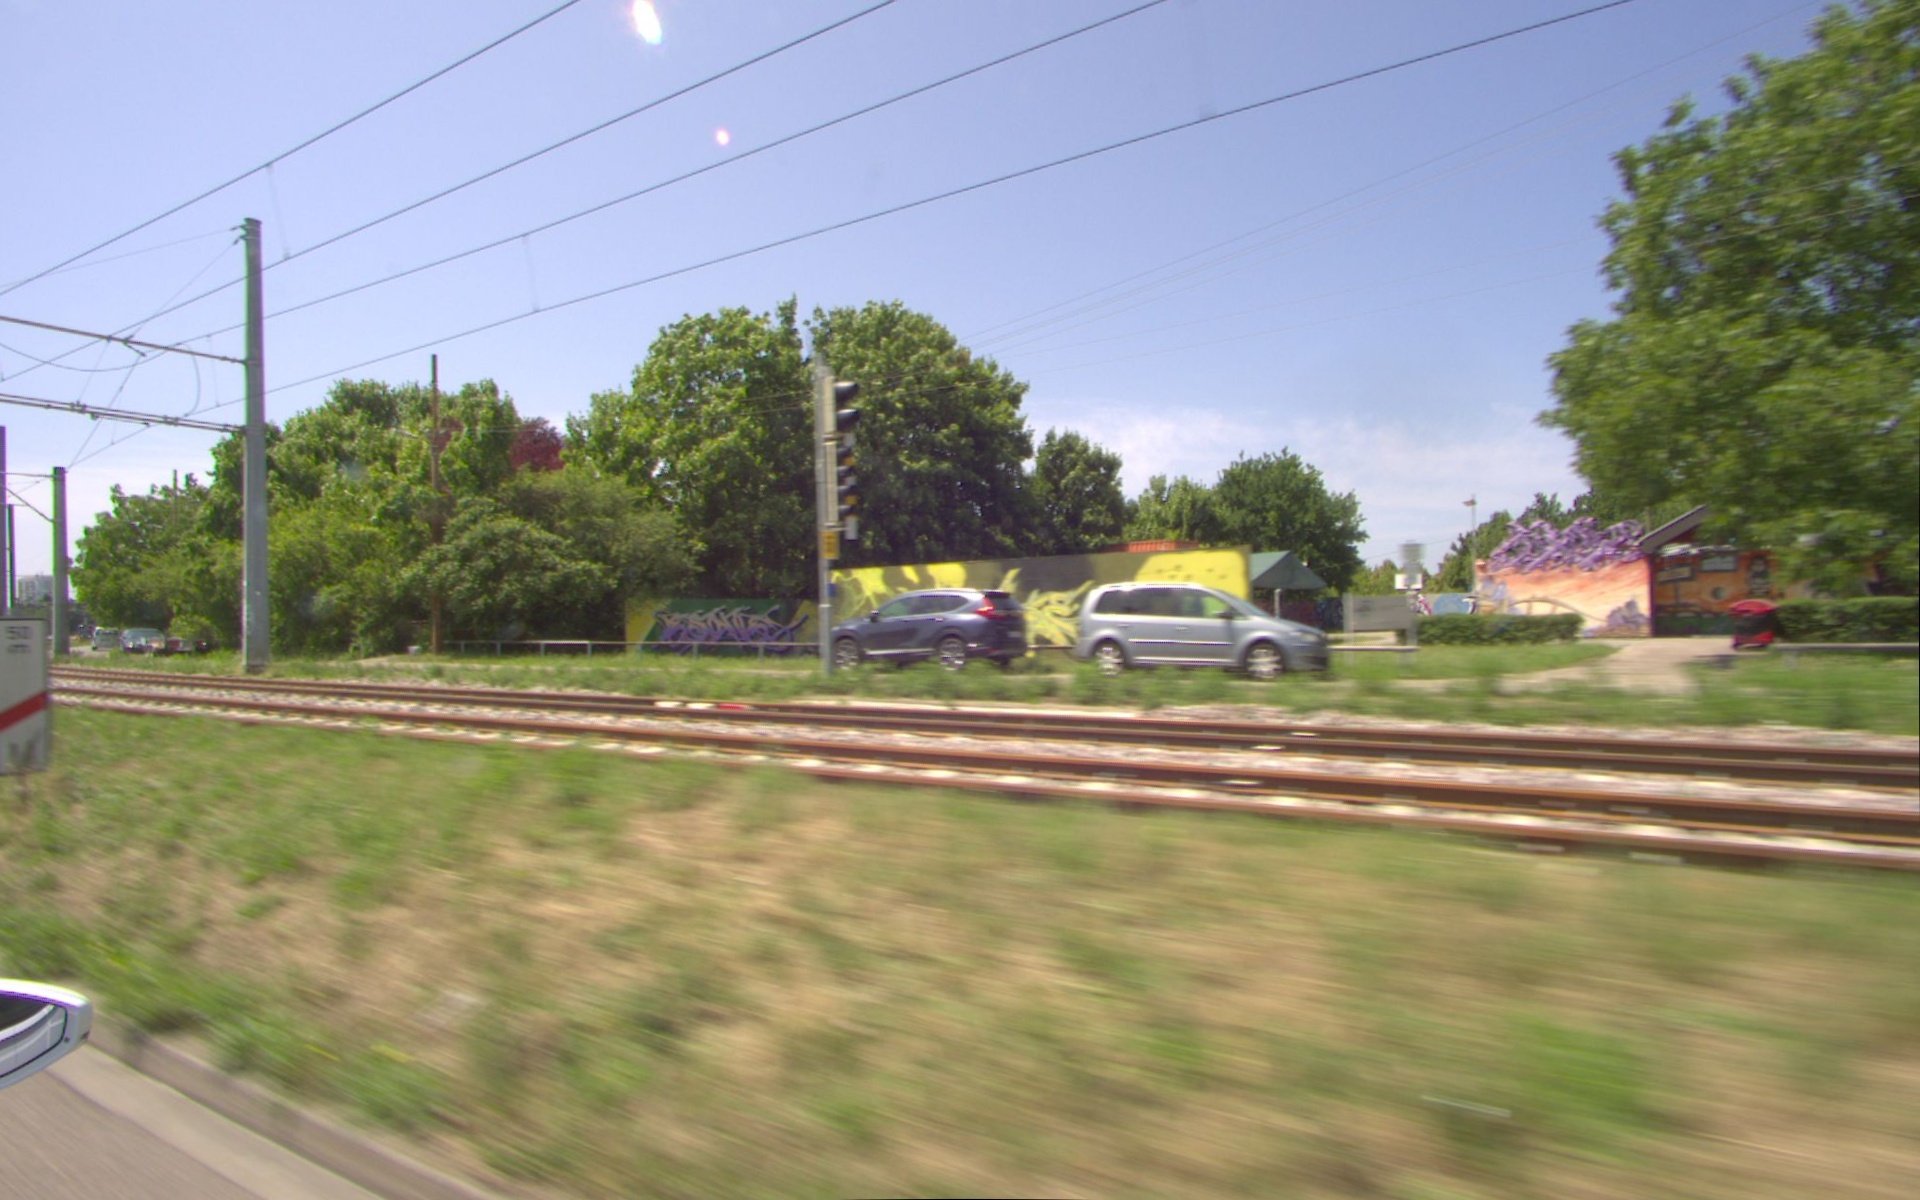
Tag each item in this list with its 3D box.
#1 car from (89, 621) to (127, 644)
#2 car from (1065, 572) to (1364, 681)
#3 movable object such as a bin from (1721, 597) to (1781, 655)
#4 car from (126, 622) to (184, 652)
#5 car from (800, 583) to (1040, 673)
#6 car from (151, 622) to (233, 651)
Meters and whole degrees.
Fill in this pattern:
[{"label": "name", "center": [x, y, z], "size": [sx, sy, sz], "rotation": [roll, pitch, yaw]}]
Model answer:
[{"label": "car", "center": [-74.250, 2.829, 87.330], "size": [2.017, 1.906, 5.035], "rotation": [-1, -2, -36]}, {"label": "car", "center": [4.266, 0.498, 17.033], "size": [4.641, 1.645, 1.674], "rotation": [-2, -1, 30]}, {"label": "movable object such as a bin", "center": [22.551, 0.739, 28.552], "size": [1.237, 1.593, 0.911], "rotation": [-2, -1, 43]}, {"label": "car", "center": [-41.332, 1.903, 51.366], "size": [4.693, 1.444, 1.786], "rotation": [-3, -2, 45]}, {"label": "car", "center": [-0.883, 0.613, 20.687], "size": [4.748, 1.678, 1.824], "rotation": [-3, -1, 32]}, {"label": "car", "center": [-33.743, 1.596, 44.003], "size": [3.616, 1.185, 1.642], "rotation": [-3, -1, 31]}]
